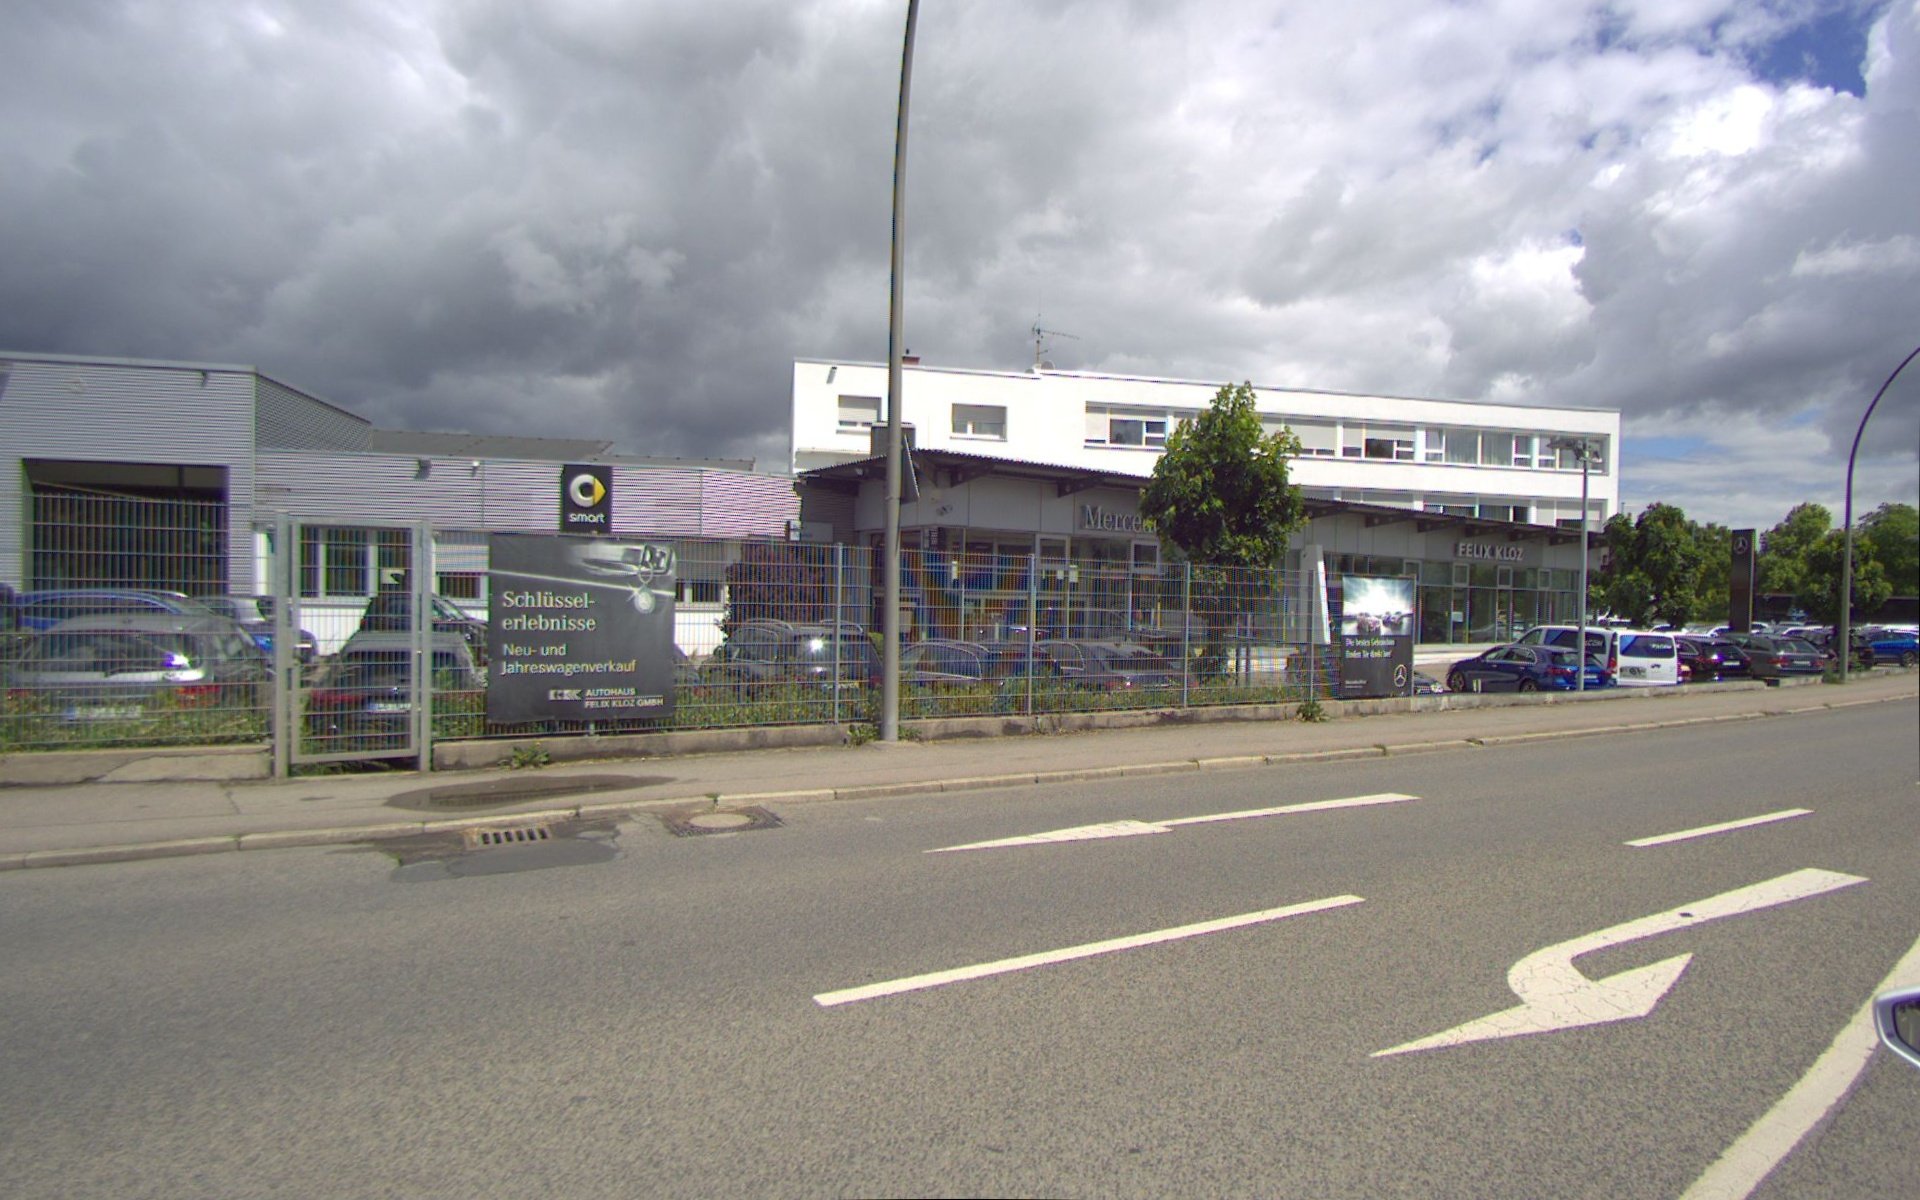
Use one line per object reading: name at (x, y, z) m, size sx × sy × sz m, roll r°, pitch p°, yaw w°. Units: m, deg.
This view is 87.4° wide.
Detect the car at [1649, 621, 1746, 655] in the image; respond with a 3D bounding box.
car at (40.328, 2.064, 54.971) m, size 3.923 × 1.666 × 1.999 m, roll 2°, pitch 0°, yaw -4°

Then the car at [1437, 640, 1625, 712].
car at (13.537, 1.747, 24.153) m, size 1.900 × 1.368 × 4.202 m, roll 2°, pitch 0°, yaw -4°

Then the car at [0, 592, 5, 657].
car at (-20.468, 0.521, 19.517) m, size 1.558 × 1.375 × 3.322 m, roll 2°, pitch 0°, yaw -20°

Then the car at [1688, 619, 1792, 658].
car at (40.628, 1.979, 52.401) m, size 3.923 × 1.855 × 1.999 m, roll 2°, pitch 0°, yaw -4°

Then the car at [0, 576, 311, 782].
car at (-8.308, 0.658, 10.609) m, size 1.900 × 1.723 × 4.177 m, roll 2°, pitch 0°, yaw -26°

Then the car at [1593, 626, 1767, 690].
car at (21.336, 1.670, 30.002) m, size 1.943 × 1.623 × 4.202 m, roll 2°, pitch 0°, yaw -4°

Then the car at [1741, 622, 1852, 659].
car at (41.347, 1.999, 49.706) m, size 3.923 × 1.653 × 1.999 m, roll 2°, pitch 0°, yaw -4°

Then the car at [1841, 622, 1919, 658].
car at (49.738, 2.137, 53.115) m, size 4.230 × 1.786 × 2.000 m, roll 2°, pitch 0°, yaw 20°

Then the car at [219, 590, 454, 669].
car at (-13.446, 0.640, 21.972) m, size 4.027 × 1.568 × 1.930 m, roll 2°, pitch 0°, yaw -22°

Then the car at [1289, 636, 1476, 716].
car at (8.979, 1.566, 21.776) m, size 1.798 × 1.368 × 4.198 m, roll 2°, pitch 0°, yaw -9°

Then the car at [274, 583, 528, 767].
car at (-6.394, 0.701, 11.736) m, size 2.146 × 1.723 × 4.174 m, roll 2°, pitch 0°, yaw -28°

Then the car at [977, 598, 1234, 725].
car at (2.182, 0.880, 16.316) m, size 2.145 × 1.723 × 4.177 m, roll 2°, pitch 0°, yaw -26°

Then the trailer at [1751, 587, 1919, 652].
trailer at (59.168, 1.324, 67.240) m, size 9.593 × 4.147 × 2.816 m, roll -1°, pitch -1°, yaw 35°

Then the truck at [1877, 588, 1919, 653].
truck at (63.110, 1.311, 64.430) m, size 6.040 × 4.147 × 2.815 m, roll -1°, pitch -1°, yaw 37°

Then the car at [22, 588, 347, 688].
car at (-13.159, 0.648, 17.394) m, size 4.027 × 1.568 × 1.930 m, roll 2°, pitch 0°, yaw -22°

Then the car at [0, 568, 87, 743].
car at (-10.587, 0.516, 9.763) m, size 2.145 × 1.723 × 4.176 m, roll 2°, pitch 0°, yaw -27°

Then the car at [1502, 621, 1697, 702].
car at (15.865, 1.476, 25.205) m, size 2.132 × 1.723 × 3.985 m, roll 2°, pitch 0°, yaw -4°

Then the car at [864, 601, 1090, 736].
car at (0.096, 0.918, 15.263) m, size 1.772 × 1.687 × 4.068 m, roll 2°, pitch 0°, yaw -26°

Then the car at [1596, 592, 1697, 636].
car at (56.182, 1.146, 82.143) m, size 8.073 × 3.380 × 3.189 m, roll 2°, pitch 0°, yaw -26°

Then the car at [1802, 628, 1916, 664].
car at (41.568, 2.130, 46.490) m, size 3.923 × 1.495 × 1.629 m, roll 2°, pitch 0°, yaw -4°

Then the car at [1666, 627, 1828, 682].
car at (25.499, 1.716, 32.756) m, size 1.761 × 1.499 × 4.202 m, roll 2°, pitch 0°, yaw -4°

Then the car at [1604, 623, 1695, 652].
car at (39.398, 2.132, 57.451) m, size 3.923 × 1.474 × 1.999 m, roll 2°, pitch 0°, yaw -4°

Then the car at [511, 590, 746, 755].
car at (-4.452, 0.777, 13.021) m, size 2.147 × 1.723 × 4.173 m, roll 2°, pitch 0°, yaw -29°

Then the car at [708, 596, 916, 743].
car at (-2.226, 0.846, 14.147) m, size 1.768 × 1.723 × 3.881 m, roll 2°, pitch 0°, yaw -26°

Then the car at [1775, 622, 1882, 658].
car at (45.054, 2.053, 52.150) m, size 3.924 × 1.675 × 1.999 m, roll 2°, pitch 0°, yaw -4°

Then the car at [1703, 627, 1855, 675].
car at (28.378, 1.726, 34.994) m, size 1.628 × 1.420 × 4.202 m, roll 2°, pitch 0°, yaw -4°
